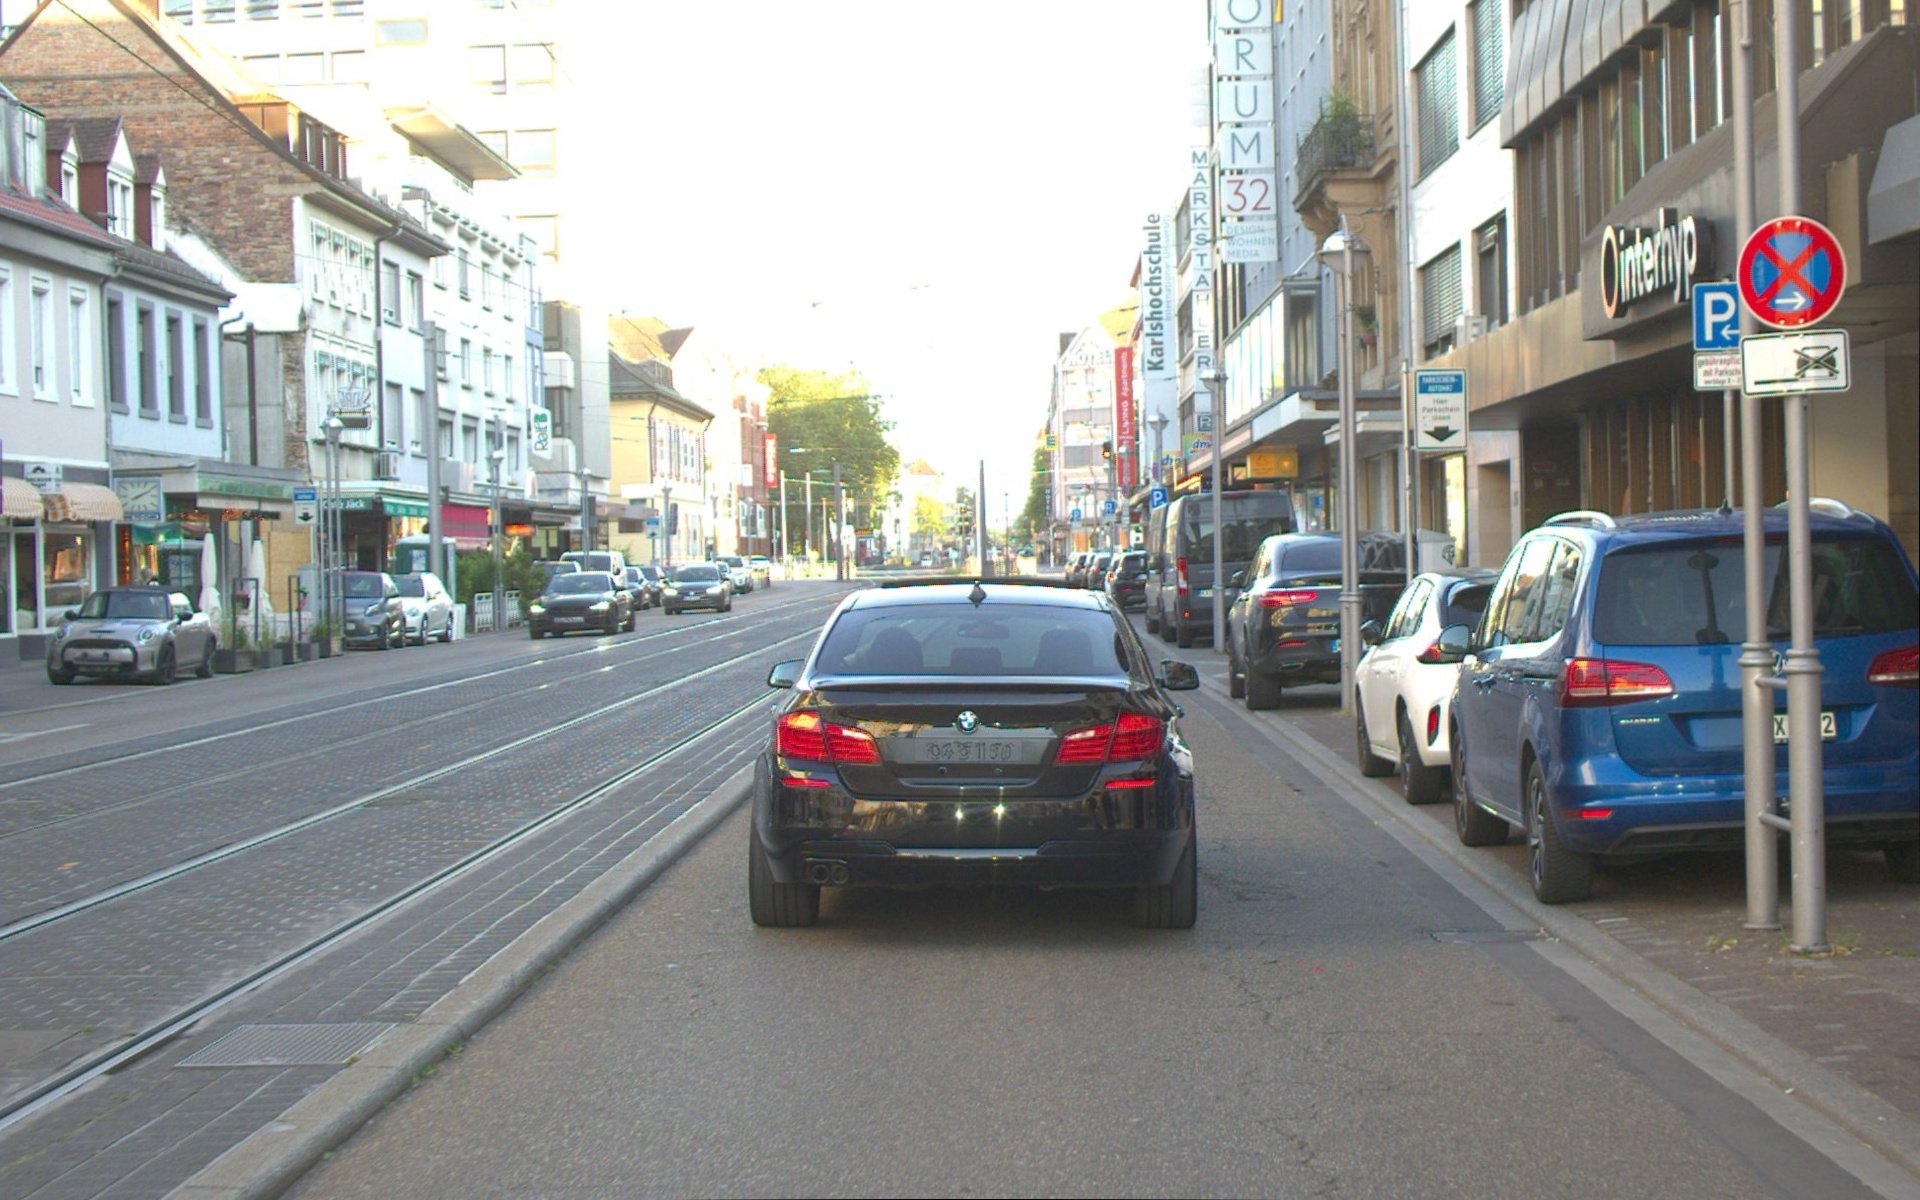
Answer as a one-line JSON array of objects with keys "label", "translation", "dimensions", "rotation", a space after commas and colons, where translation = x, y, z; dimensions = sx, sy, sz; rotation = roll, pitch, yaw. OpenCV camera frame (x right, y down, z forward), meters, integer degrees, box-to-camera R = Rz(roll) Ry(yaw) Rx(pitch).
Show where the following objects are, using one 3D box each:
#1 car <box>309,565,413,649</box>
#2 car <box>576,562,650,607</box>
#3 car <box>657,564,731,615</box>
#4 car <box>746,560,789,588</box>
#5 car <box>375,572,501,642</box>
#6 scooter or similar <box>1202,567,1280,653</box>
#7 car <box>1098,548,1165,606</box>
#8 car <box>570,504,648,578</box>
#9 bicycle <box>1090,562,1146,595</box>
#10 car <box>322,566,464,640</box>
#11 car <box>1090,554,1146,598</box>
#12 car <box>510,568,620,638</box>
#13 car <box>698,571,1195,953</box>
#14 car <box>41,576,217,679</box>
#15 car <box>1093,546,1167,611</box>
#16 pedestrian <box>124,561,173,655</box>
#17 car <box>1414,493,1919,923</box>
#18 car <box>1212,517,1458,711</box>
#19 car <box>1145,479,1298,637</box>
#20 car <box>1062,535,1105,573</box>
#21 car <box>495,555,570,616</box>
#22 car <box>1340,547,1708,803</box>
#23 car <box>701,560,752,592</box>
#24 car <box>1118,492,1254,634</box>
[{"label": "car", "translation": [-11.713, 0.127, 67.332], "dimensions": [1.477, 1.572, 2.795], "rotation": [-1, 1, 0]}, {"label": "car", "translation": [-11.391, -0.533, 113.147], "dimensions": [1.929, 1.430, 4.246], "rotation": [0, 1, 1]}, {"label": "car", "translation": [-8.012, -0.328, 103.861], "dimensions": [1.692, 1.448, 4.465], "rotation": [-1, 1, 3]}, {"label": "car", "translation": [-10.002, -1.360, 178.738], "dimensions": [1.929, 1.430, 4.246], "rotation": [0, 1, 1]}, {"label": "car", "translation": [-11.641, 0.139, 76.968], "dimensions": [1.993, 1.448, 4.329], "rotation": [-1, 1, 2]}, {"label": "scooter or similar", "translation": [4.104, 0.146, 50.196], "dimensions": [0.499, 1.216, 1.262], "rotation": [-1, 1, 38]}, {"label": "car", "translation": [4.551, -0.634, 91.645], "dimensions": [1.559, 1.437, 3.709], "rotation": [-3, 1, 1]}, {"label": "car", "translation": [-10.625, -1.767, 104.289], "dimensions": [1.993, 2.149, 4.911], "rotation": [-1, 1, -2]}, {"label": "bicycle", "translation": [5.308, -0.716, 115.716], "dimensions": [1.861, 1.076, 0.468], "rotation": [-1, -1, 2]}, {"label": "car", "translation": [-11.830, 0.044, 72.009], "dimensions": [1.993, 1.448, 4.821], "rotation": [-1, 1, 2]}, {"label": "car", "translation": [5.725, -0.856, 124.963], "dimensions": [1.903, 1.543, 4.000], "rotation": [-1, 0, 1]}, {"label": "car", "translation": [-8.774, 0.040, 76.688], "dimensions": [1.993, 1.448, 4.649], "rotation": [-1, 1, -1]}, {"label": "car", "translation": [0.040, 0.640, 15.723], "dimensions": [1.954, 1.493, 4.464], "rotation": [0, 0, 2]}, {"label": "car", "translation": [-12.350, 0.381, 51.274], "dimensions": [1.598, 1.435, 3.812], "rotation": [0, 1, 2]}, {"label": "car", "translation": [4.257, -0.556, 86.591], "dimensions": [1.654, 1.532, 3.886], "rotation": [-2, 1, 1]}, {"label": "pedestrian", "translation": [-14.340, 0.137, 60.784], "dimensions": [0.662, 1.638, 0.694], "rotation": [-1, 1, 2]}, {"label": "car", "translation": [3.494, 0.414, 16.645], "dimensions": [1.993, 1.721, 4.576], "rotation": [-3, 1, 1]}, {"label": "car", "translation": [3.693, 0.105, 34.602], "dimensions": [1.993, 1.721, 4.565], "rotation": [-3, 1, 1]}, {"label": "car", "translation": [4.343, -0.715, 57.960], "dimensions": [2.092, 2.447, 6.032], "rotation": [-2, 1, 1]}, {"label": "car", "translation": [5.248, -1.949, 146.450], "dimensions": [1.774, 1.543, 3.503], "rotation": [-1, 0, 1]}, {"label": "car", "translation": [-12.230, -0.430, 98.534], "dimensions": [1.866, 1.679, 4.001], "rotation": [0, 1, -3]}, {"label": "car", "translation": [3.600, 0.421, 22.581], "dimensions": [1.795, 1.428, 3.887], "rotation": [-3, 1, 1]}, {"label": "car", "translation": [-10.558, -1.088, 155.456], "dimensions": [1.929, 1.430, 4.246], "rotation": [0, 1, 1]}, {"label": "car", "translation": [4.166, -0.703, 64.270], "dimensions": [2.033, 2.447, 5.409], "rotation": [-3, 1, 0]}]
